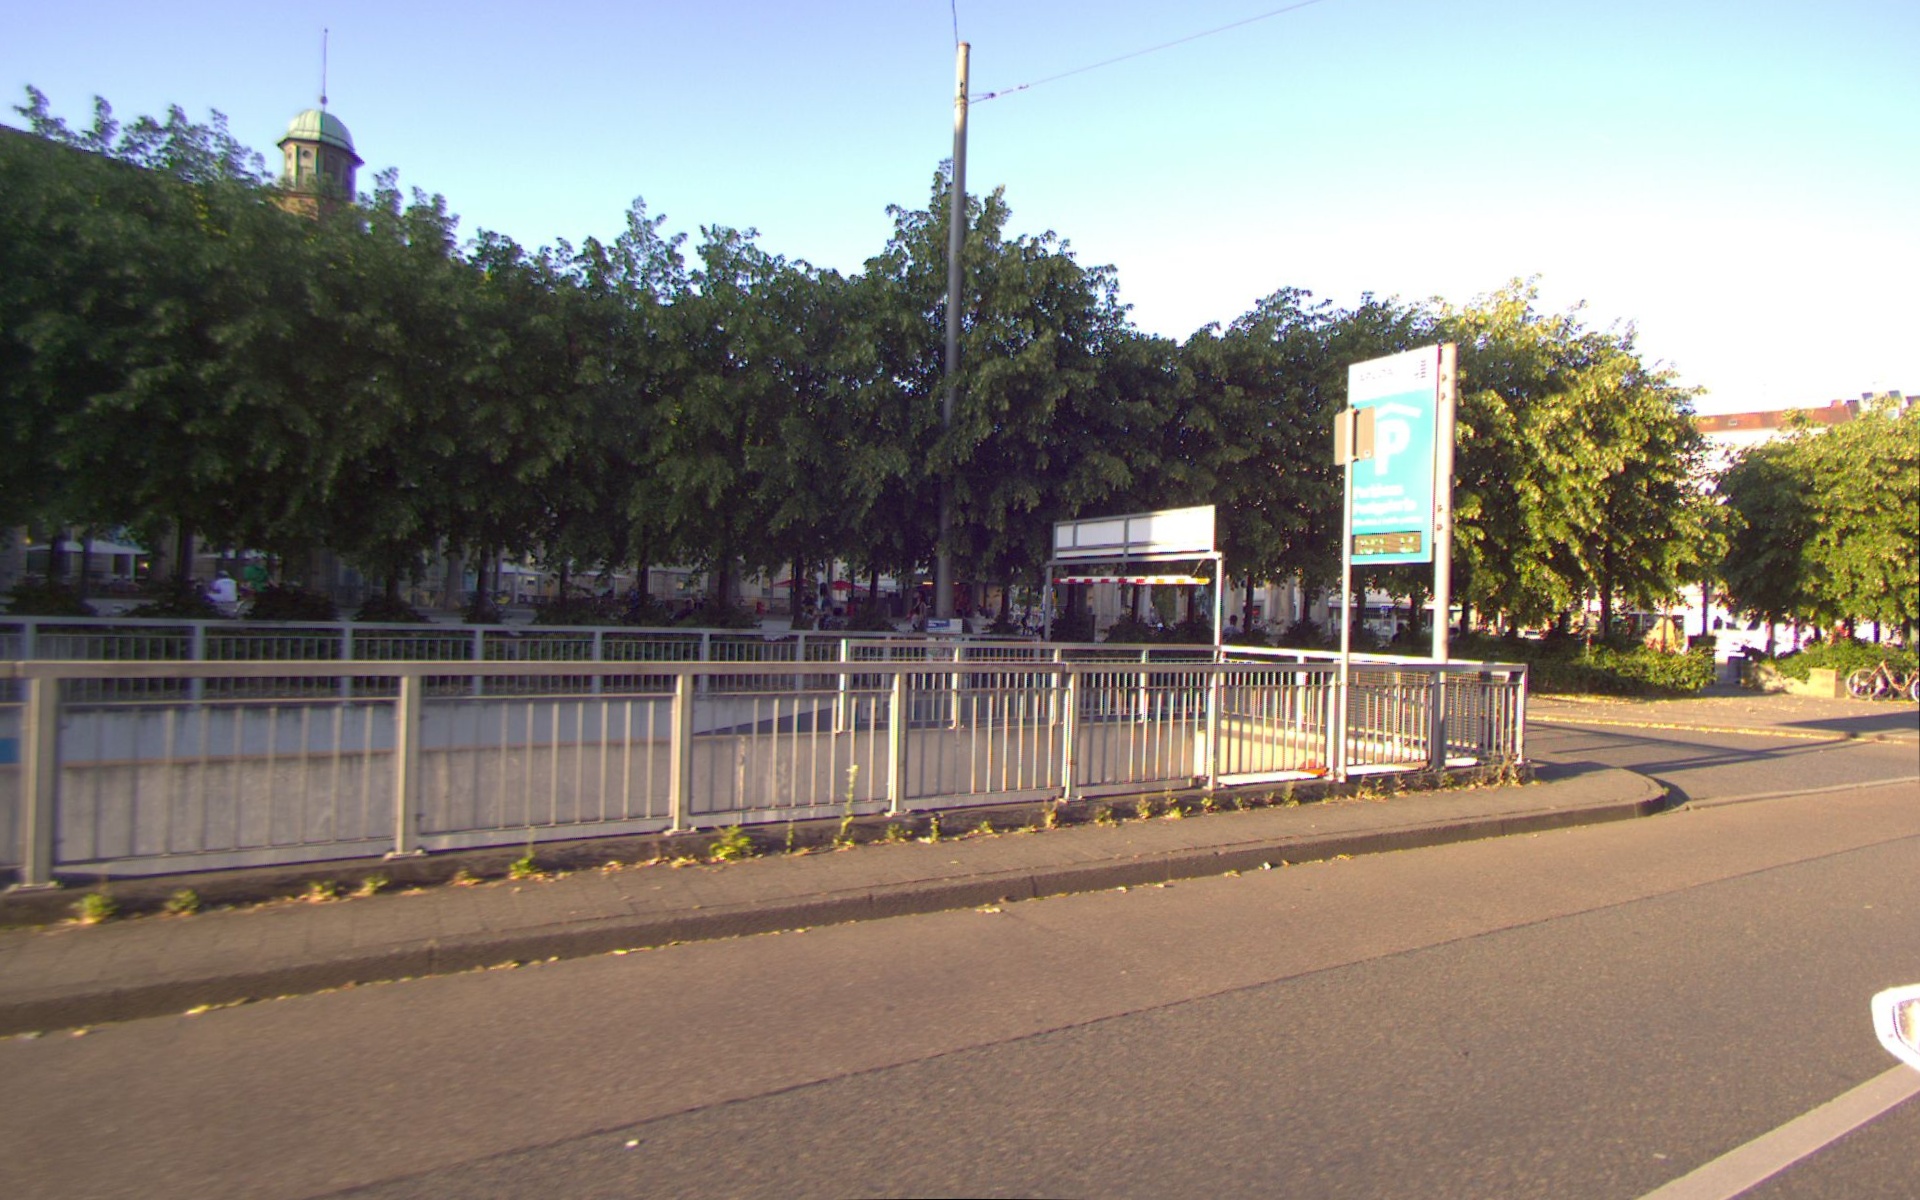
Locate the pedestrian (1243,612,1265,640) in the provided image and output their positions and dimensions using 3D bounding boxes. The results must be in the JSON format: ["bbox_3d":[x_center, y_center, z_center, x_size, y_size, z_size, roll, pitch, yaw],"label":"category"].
[{"bbox_3d":[16.730,1.492,57.217,0.963,1.520,0.988,2,-1,29],"label":"pedestrian"}]

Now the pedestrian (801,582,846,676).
[{"bbox_3d":[-3.053,0.638,22.542,0.902,2.040,0.913,2,0,-7],"label":"pedestrian"}]

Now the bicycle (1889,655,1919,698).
[{"bbox_3d":[23.719,1.909,24.052,0.629,0.984,2.032,2,2,-31],"label":"bicycle"}]

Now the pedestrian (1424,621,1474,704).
[{"bbox_3d":[11.898,1.517,24.457,0.718,1.974,0.802,2,0,-17],"label":"pedestrian"}]

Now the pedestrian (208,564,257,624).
[{"bbox_3d":[-20.743,-0.178,28.650,1.246,1.669,0.706,1,-1,34],"label":"pedestrian"}]

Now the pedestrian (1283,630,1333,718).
[{"bbox_3d":[8.135,1.715,23.486,0.718,1.974,0.802,2,0,-17],"label":"pedestrian"}]

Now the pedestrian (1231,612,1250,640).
[{"bbox_3d":[16.061,1.493,57.521,0.830,1.520,0.947,2,-1,30],"label":"pedestrian"}]

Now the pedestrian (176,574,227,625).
[{"bbox_3d":[-21.183,-0.020,28.044,1.246,1.398,0.736,1,-1,33],"label":"pedestrian"}]

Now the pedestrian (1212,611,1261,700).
[{"bbox_3d":[6.309,1.260,22.906,0.718,1.974,0.802,2,0,-17],"label":"pedestrian"}]

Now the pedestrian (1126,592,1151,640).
[{"bbox_3d":[7.452,0.673,41.914,0.790,1.974,0.686,1,0,31],"label":"pedestrian"}]

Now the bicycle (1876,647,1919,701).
[{"bbox_3d":[23.267,1.791,23.678,0.457,1.254,2.418,2,0,-31],"label":"bicycle"}]

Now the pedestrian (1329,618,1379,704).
[{"bbox_3d":[9.302,1.434,23.727,0.718,1.974,0.802,2,0,-17],"label":"pedestrian"}]

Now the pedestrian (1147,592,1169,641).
[{"bbox_3d":[8.197,0.692,41.508,0.716,1.974,0.805,2,0,20],"label":"pedestrian"}]

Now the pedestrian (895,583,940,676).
[{"bbox_3d":[-0.971,0.664,22.722,0.902,2.040,0.913,2,0,-7],"label":"pedestrian"}]

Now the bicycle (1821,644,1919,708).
[{"bbox_3d":[21.233,1.712,22.881,0.801,1.301,2.507,2,0,-9],"label":"bicycle"}]

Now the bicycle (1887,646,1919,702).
[{"bbox_3d":[22.890,1.774,22.964,0.512,1.254,2.418,2,1,-31],"label":"bicycle"}]

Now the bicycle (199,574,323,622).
[{"bbox_3d":[-17.123,-0.036,24.668,0.937,1.116,2.319,1,-1,38],"label":"bicycle"}]

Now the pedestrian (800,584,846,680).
[{"bbox_3d":[-2.981,0.690,21.966,0.902,2.040,0.913,2,0,-7],"label":"pedestrian"}]

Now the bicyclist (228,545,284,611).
[{"bbox_3d":[-17.189,-0.526,24.520,1.361,1.529,0.749,1,-1,40],"label":"bicyclist"}]

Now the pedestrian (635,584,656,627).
[{"bbox_3d":[-14.746,0.239,47.112,0.716,1.974,0.805,2,0,0],"label":"pedestrian"}]

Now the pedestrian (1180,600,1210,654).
[{"bbox_3d":[8.676,1.000,37.117,0.720,1.974,0.801,2,0,-22],"label":"pedestrian"}]
